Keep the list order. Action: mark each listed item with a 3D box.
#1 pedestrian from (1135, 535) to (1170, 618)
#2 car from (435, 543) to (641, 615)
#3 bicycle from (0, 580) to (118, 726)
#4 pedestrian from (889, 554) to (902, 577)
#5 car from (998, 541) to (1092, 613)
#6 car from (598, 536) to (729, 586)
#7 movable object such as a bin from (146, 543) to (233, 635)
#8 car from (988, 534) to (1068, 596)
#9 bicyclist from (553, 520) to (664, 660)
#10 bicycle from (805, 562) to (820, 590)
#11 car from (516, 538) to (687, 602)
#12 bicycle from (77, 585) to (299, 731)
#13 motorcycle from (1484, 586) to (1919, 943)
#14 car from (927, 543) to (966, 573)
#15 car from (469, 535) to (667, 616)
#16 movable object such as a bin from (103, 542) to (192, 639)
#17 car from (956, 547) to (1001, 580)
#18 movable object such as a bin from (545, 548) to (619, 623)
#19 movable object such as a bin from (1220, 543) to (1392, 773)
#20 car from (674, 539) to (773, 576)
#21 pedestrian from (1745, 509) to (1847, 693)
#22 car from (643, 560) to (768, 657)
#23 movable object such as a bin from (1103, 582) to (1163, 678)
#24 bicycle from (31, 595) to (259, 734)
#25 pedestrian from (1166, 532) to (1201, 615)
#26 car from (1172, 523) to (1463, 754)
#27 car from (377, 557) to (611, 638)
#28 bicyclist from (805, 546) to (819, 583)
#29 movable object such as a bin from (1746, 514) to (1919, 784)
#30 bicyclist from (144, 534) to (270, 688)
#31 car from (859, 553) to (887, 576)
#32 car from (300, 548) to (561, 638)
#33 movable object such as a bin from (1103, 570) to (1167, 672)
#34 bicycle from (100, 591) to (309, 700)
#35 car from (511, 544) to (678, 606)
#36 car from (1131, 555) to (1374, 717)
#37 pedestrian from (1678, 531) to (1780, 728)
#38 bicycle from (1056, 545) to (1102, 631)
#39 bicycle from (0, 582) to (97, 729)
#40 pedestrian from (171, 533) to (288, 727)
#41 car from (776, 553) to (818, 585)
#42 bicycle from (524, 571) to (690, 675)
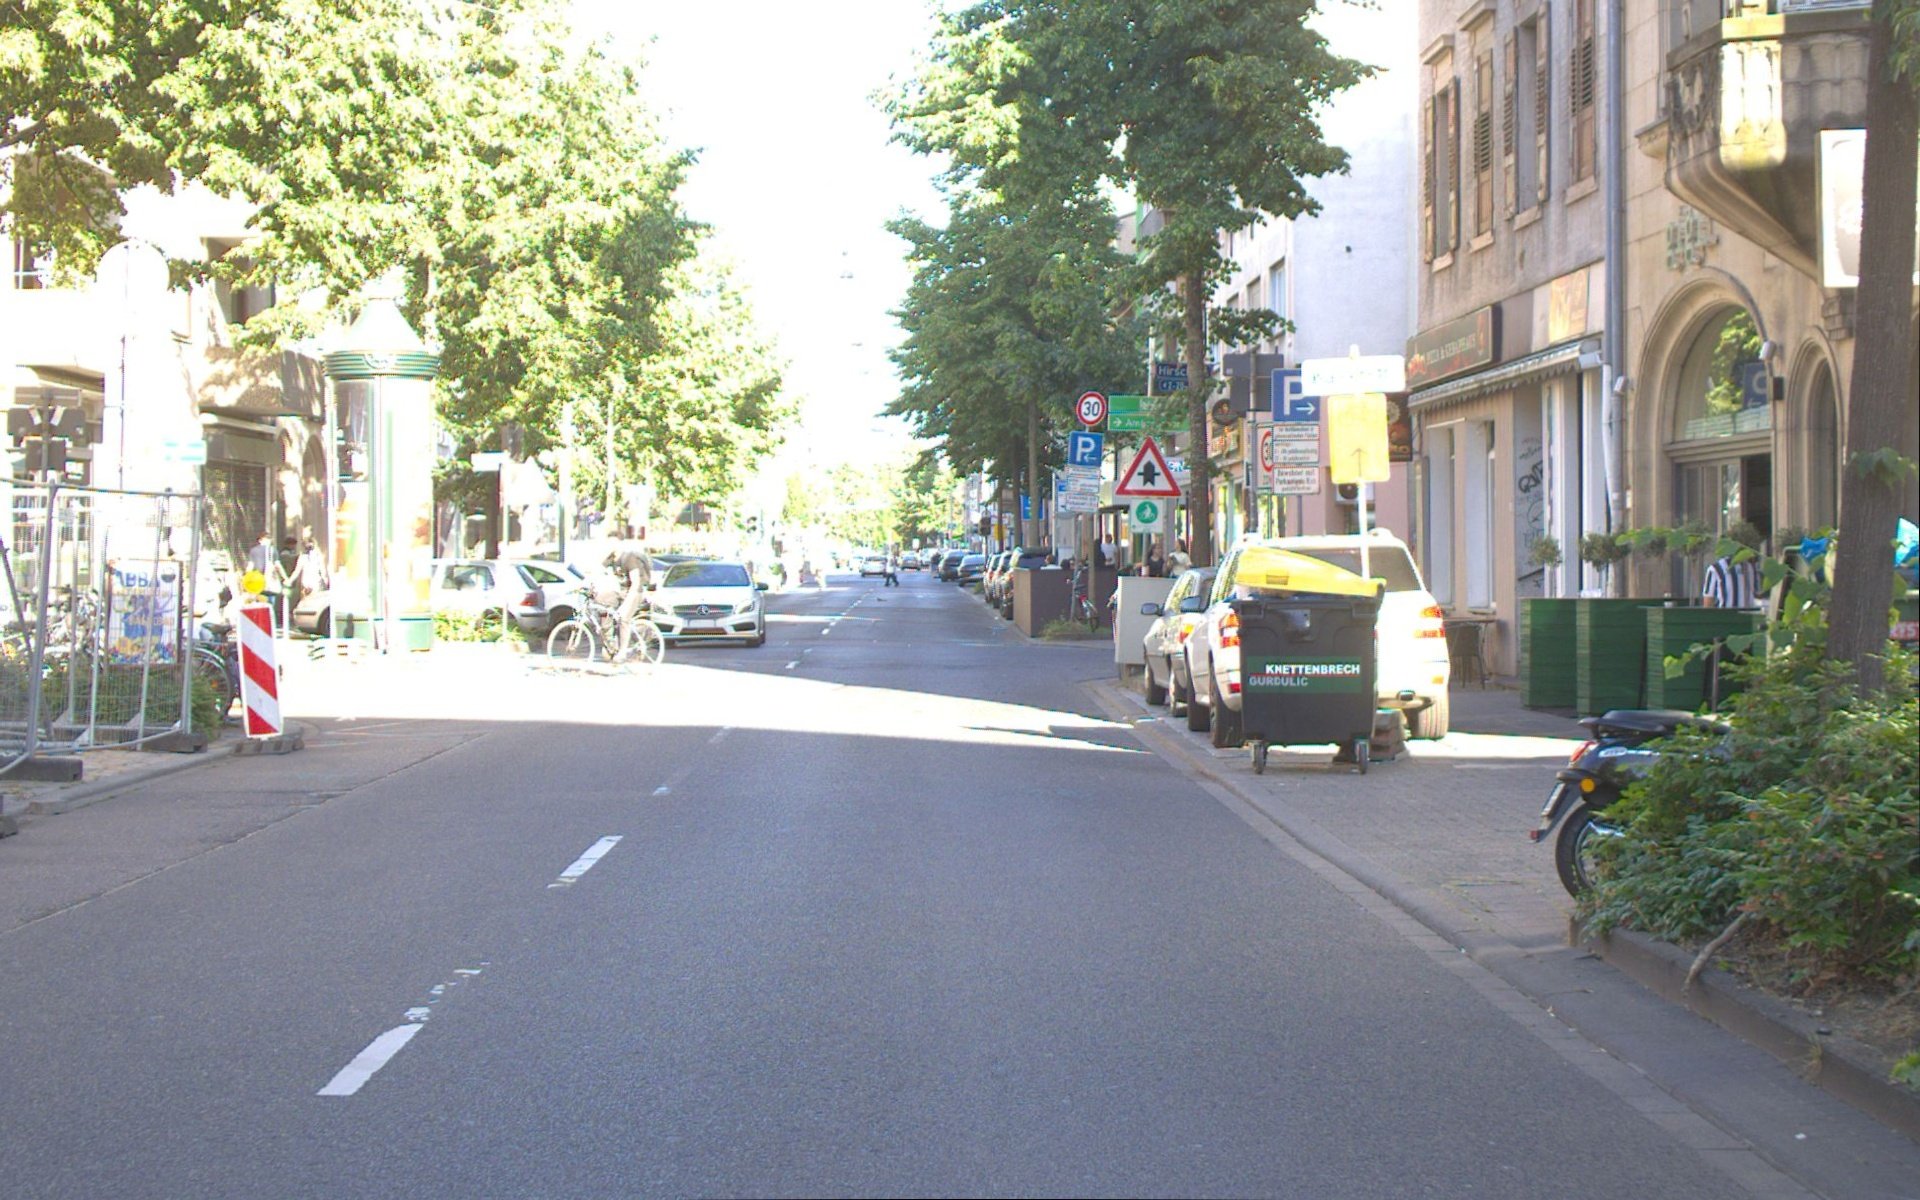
[{"bbox_3d":[3.846,-0.472,68.620,0.546,1.644,0.665,-1,1,-9],"label":"pedestrian"},{"bbox_3d":[-8.846,-0.449,72.221,3.987,1.452,1.868,-1,1,4],"label":"car"},{"bbox_3d":[-8.343,0.463,31.100,0.598,1.248,1.793,0,1,-43],"label":"bicycle"},{"bbox_3d":[-2.922,-1.585,156.209,0.545,1.023,0.546,-1,1,-3],"label":"pedestrian"},{"bbox_3d":[1.951,-0.560,79.972,1.993,1.604,4.000,-1,1,-1],"label":"car"},{"bbox_3d":[-9.341,-1.238,108.552,3.986,1.494,2.000,-1,1,-2],"label":"car"},{"bbox_3d":[-12.759,-0.192,56.952,1.171,1.480,1.315,-1,1,-3],"label":"movable object such as a bin"},{"bbox_3d":[1.827,-0.966,93.342,1.993,1.604,4.000,-1,1,-1],"label":"car"},{"bbox_3d":[-4.325,-0.132,42.289,0.721,1.687,1.154,0,1,44],"label":"bicyclist"},{"bbox_3d":[-6.210,-1.015,144.828,0.560,1.176,1.628,0,0,-1],"label":"bicycle"},{"bbox_3d":[-8.708,-0.739,83.836,3.986,1.494,2.000,-1,1,-2],"label":"car"},{"bbox_3d":[-6.763,0.508,30.187,1.854,1.248,0.600,0,1,-8],"label":"bicycle"},{"bbox_3d":[3.209,0.627,13.816,1.977,1.325,0.912,-1,1,-13],"label":"motorcycle"},{"bbox_3d":[-0.718,-2.198,180.852,1.993,1.503,4.000,0,0,-1],"label":"car"},{"bbox_3d":[-8.532,-0.545,75.021,3.987,1.688,2.000,-1,1,4],"label":"car"},{"bbox_3d":[-12.722,-0.156,53.866,1.140,1.480,1.236,-1,1,-3],"label":"movable object such as a bin"},{"bbox_3d":[0.864,-1.694,161.340,1.993,1.503,4.000,0,0,-1],"label":"car"},{"bbox_3d":[-7.550,-0.294,68.794,1.334,1.473,1.480,-1,1,-1],"label":"movable object such as a bin"},{"bbox_3d":[2.457,0.387,24.238,1.143,1.556,1.459,-1,1,8],"label":"movable object such as a bin"},{"bbox_3d":[-9.795,-1.768,142.742,3.986,1.494,2.000,-1,1,-2],"label":"car"},{"bbox_3d":[7.247,0.003,29.817,0.697,1.560,0.612,-1,1,-1],"label":"pedestrian"},{"bbox_3d":[-4.186,0.113,57.046,1.802,1.430,4.410,-3,1,-2],"label":"car"},{"bbox_3d":[2.150,0.368,42.845,0.659,1.176,0.739,-1,1,-3],"label":"movable object such as a bin"},{"bbox_3d":[-6.984,0.550,29.513,1.854,1.166,0.600,0,1,-8],"label":"bicycle"},{"bbox_3d":[4.464,-0.537,68.756,0.546,1.644,0.665,-1,1,-10],"label":"pedestrian"},{"bbox_3d":[2.862,0.255,28.464,1.822,1.673,4.601,-3,1,0],"label":"car"},{"bbox_3d":[-8.384,-0.059,62.115,3.986,1.385,2.000,-1,1,-2],"label":"car"},{"bbox_3d":[-6.218,-1.493,144.841,0.560,1.542,0.728,0,0,-1],"label":"bicyclist"},{"bbox_3d":[5.749,0.280,21.596,1.205,1.622,1.498,-1,1,-2],"label":"movable object such as a bin"},{"bbox_3d":[-7.763,0.105,35.438,1.037,1.555,0.769,-1,1,-34],"label":"bicyclist"},{"bbox_3d":[-5.664,-2.306,223.974,1.792,1.406,4.000,-1,1,-1],"label":"car"},{"bbox_3d":[-8.634,-0.126,56.323,3.986,1.385,2.000,-1,1,-2],"label":"car"},{"bbox_3d":[2.141,0.249,42.100,0.705,1.218,0.681,-1,1,-3],"label":"movable object such as a bin"},{"bbox_3d":[-7.780,0.453,35.445,1.949,1.055,0.769,-1,1,-34],"label":"bicycle"},{"bbox_3d":[-9.141,-0.619,86.190,3.986,1.495,2.000,-1,0,-2],"label":"car"},{"bbox_3d":[2.800,0.304,33.786,1.822,1.386,4.301,-3,1,-2],"label":"car"},{"bbox_3d":[6.101,0.223,27.291,0.610,1.535,0.699,-1,1,-1],"label":"pedestrian"},{"bbox_3d":[2.079,-0.223,60.307,0.560,1.436,1.628,-6,1,-1],"label":"bicycle"},{"bbox_3d":[-8.505,0.469,29.998,1.788,1.248,0.600,1,1,11],"label":"bicycle"},{"bbox_3d":[-6.557,0.259,30.861,0.792,1.701,0.767,0,1,-34],"label":"pedestrian"},{"bbox_3d":[-7.608,-1.460,161.055,1.822,1.386,4.301,-3,1,-2],"label":"car"},{"bbox_3d":[-4.330,0.271,42.291,0.721,1.215,2.030,0,1,44],"label":"bicycle"}]
